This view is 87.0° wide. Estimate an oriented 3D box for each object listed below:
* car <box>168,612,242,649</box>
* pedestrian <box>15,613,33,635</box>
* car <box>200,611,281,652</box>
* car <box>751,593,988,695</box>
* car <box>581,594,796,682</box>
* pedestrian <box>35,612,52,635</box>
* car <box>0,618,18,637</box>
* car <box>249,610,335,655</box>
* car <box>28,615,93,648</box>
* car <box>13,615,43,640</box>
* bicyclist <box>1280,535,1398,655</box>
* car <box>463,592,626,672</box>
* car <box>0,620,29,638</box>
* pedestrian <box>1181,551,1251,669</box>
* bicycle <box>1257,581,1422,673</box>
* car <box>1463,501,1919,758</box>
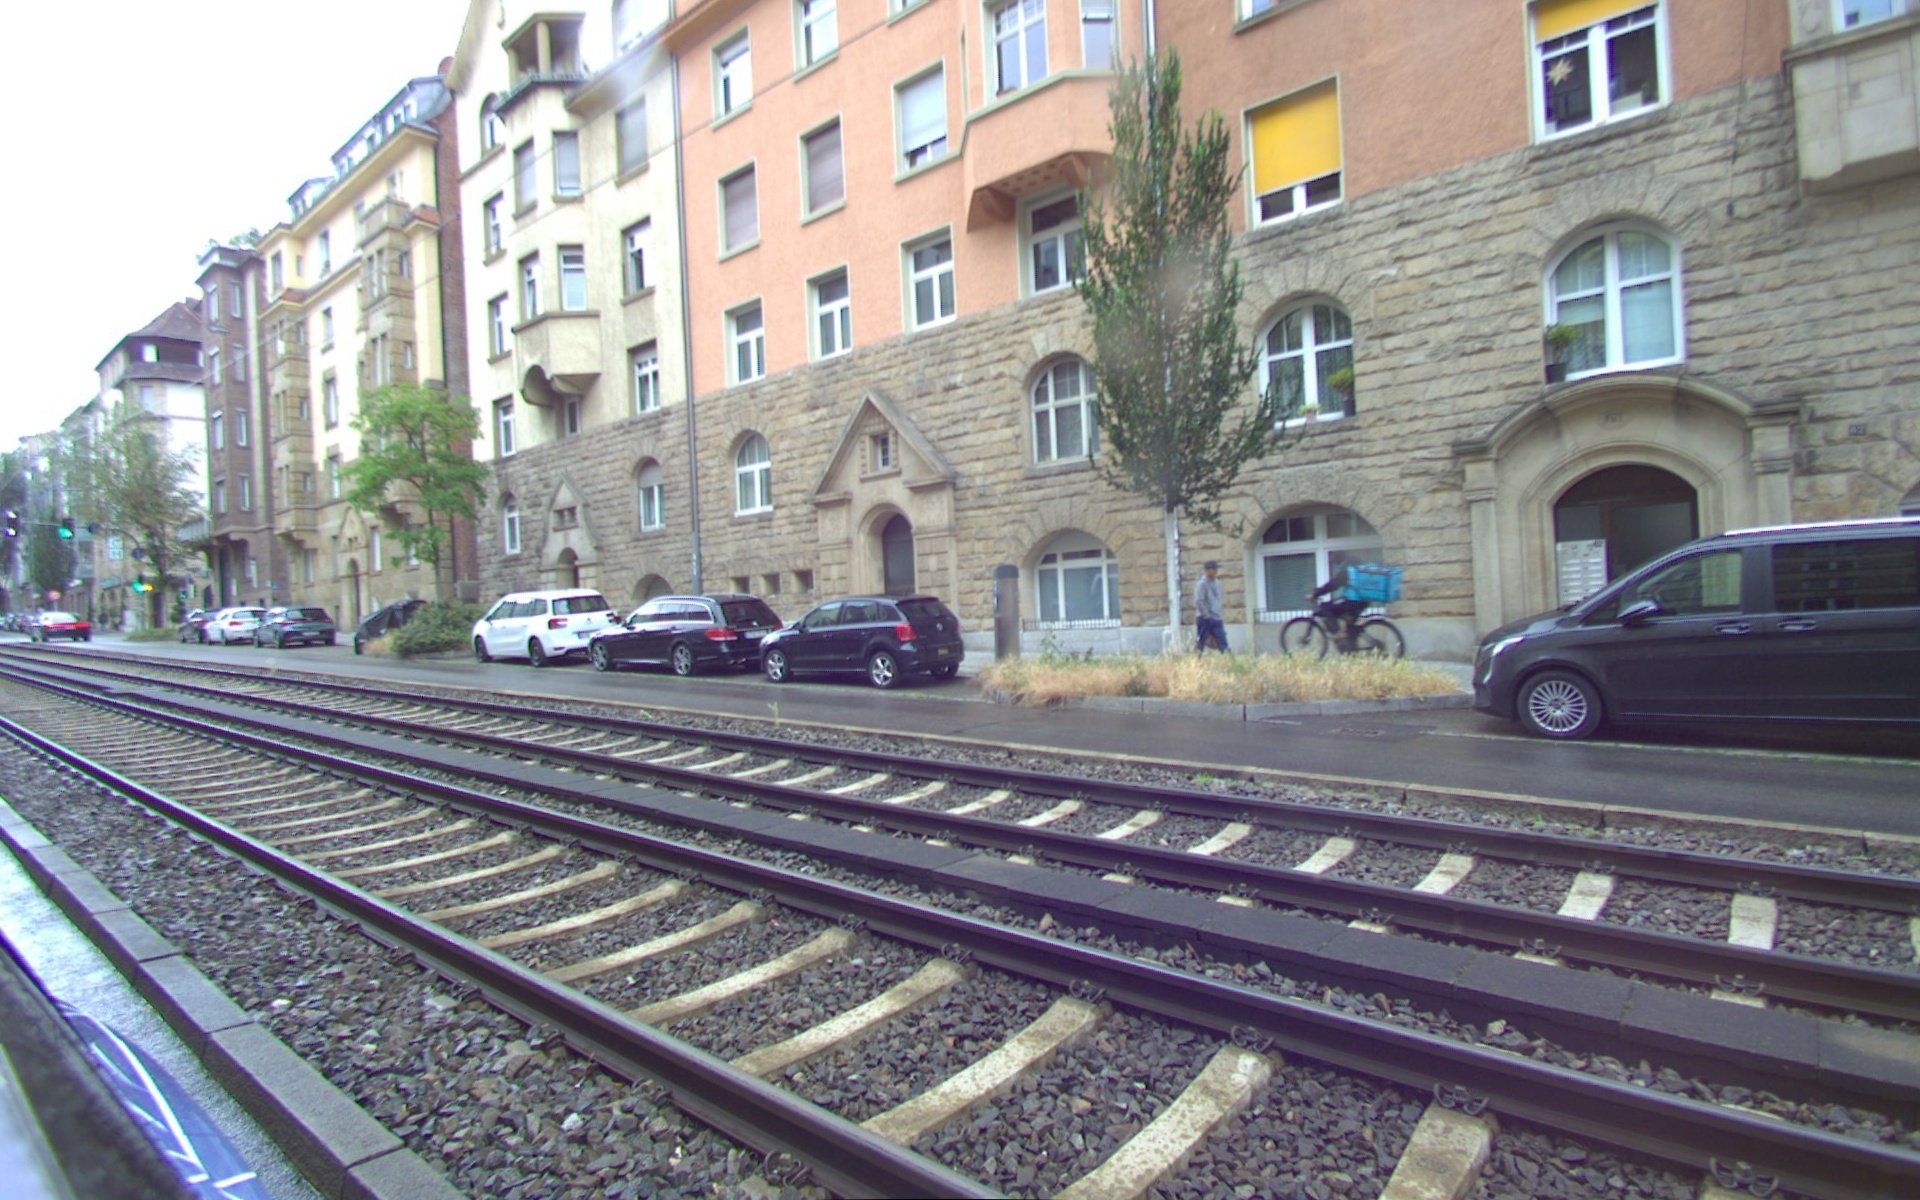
[{"bbox_3d":[-32.149,1.277,43.085,3.843,1.452,1.748,-1,0,41],"label":"car"},{"bbox_3d":[-84.119,2.147,90.971,1.163,1.972,1.042,-1,0,43],"label":"pedestrian"},{"bbox_3d":[-28.290,1.222,39.763,4.030,1.452,1.748,-1,1,42],"label":"car"},{"bbox_3d":[-1.558,0.676,16.920,3.638,1.508,1.912,-1,0,38],"label":"car"},{"bbox_3d":[-5.440,0.705,19.941,4.599,1.506,1.824,-1,0,41],"label":"car"},{"bbox_3d":[-83.279,2.137,91.955,1.163,1.972,1.042,-1,0,43],"label":"pedestrian"},{"bbox_3d":[-80.927,2.305,85.406,3.843,1.527,1.748,-1,0,41],"label":"car"},{"bbox_3d":[-23.688,1.106,35.861,3.845,1.452,1.656,-1,1,43],"label":"car"},{"bbox_3d":[-45.068,1.542,50.677,4.961,1.535,1.785,-1,0,41],"label":"car"},{"bbox_3d":[-69.050,2.007,74.969,1.561,1.691,3.794,-2,2,-43],"label":"car"},{"bbox_3d":[5.351,-0.074,14.324,0.873,1.609,1.256,-2,0,-37],"label":"bicyclist"},{"bbox_3d":[-9.748,0.710,23.613,4.144,1.668,1.843,-1,0,41],"label":"car"},{"bbox_3d":[-74.299,2.296,79.333,3.843,1.321,1.563,-1,0,41],"label":"car"},{"bbox_3d":[3.721,0.142,14.711,0.764,1.654,0.692,-1,0,39],"label":"pedestrian"},{"bbox_3d":[5.366,0.379,14.432,0.813,1.195,2.041,-3,0,-38],"label":"bicycle"},{"bbox_3d":[7.345,0.222,8.986,4.823,1.956,1.973,-1,0,41],"label":"car"}]
